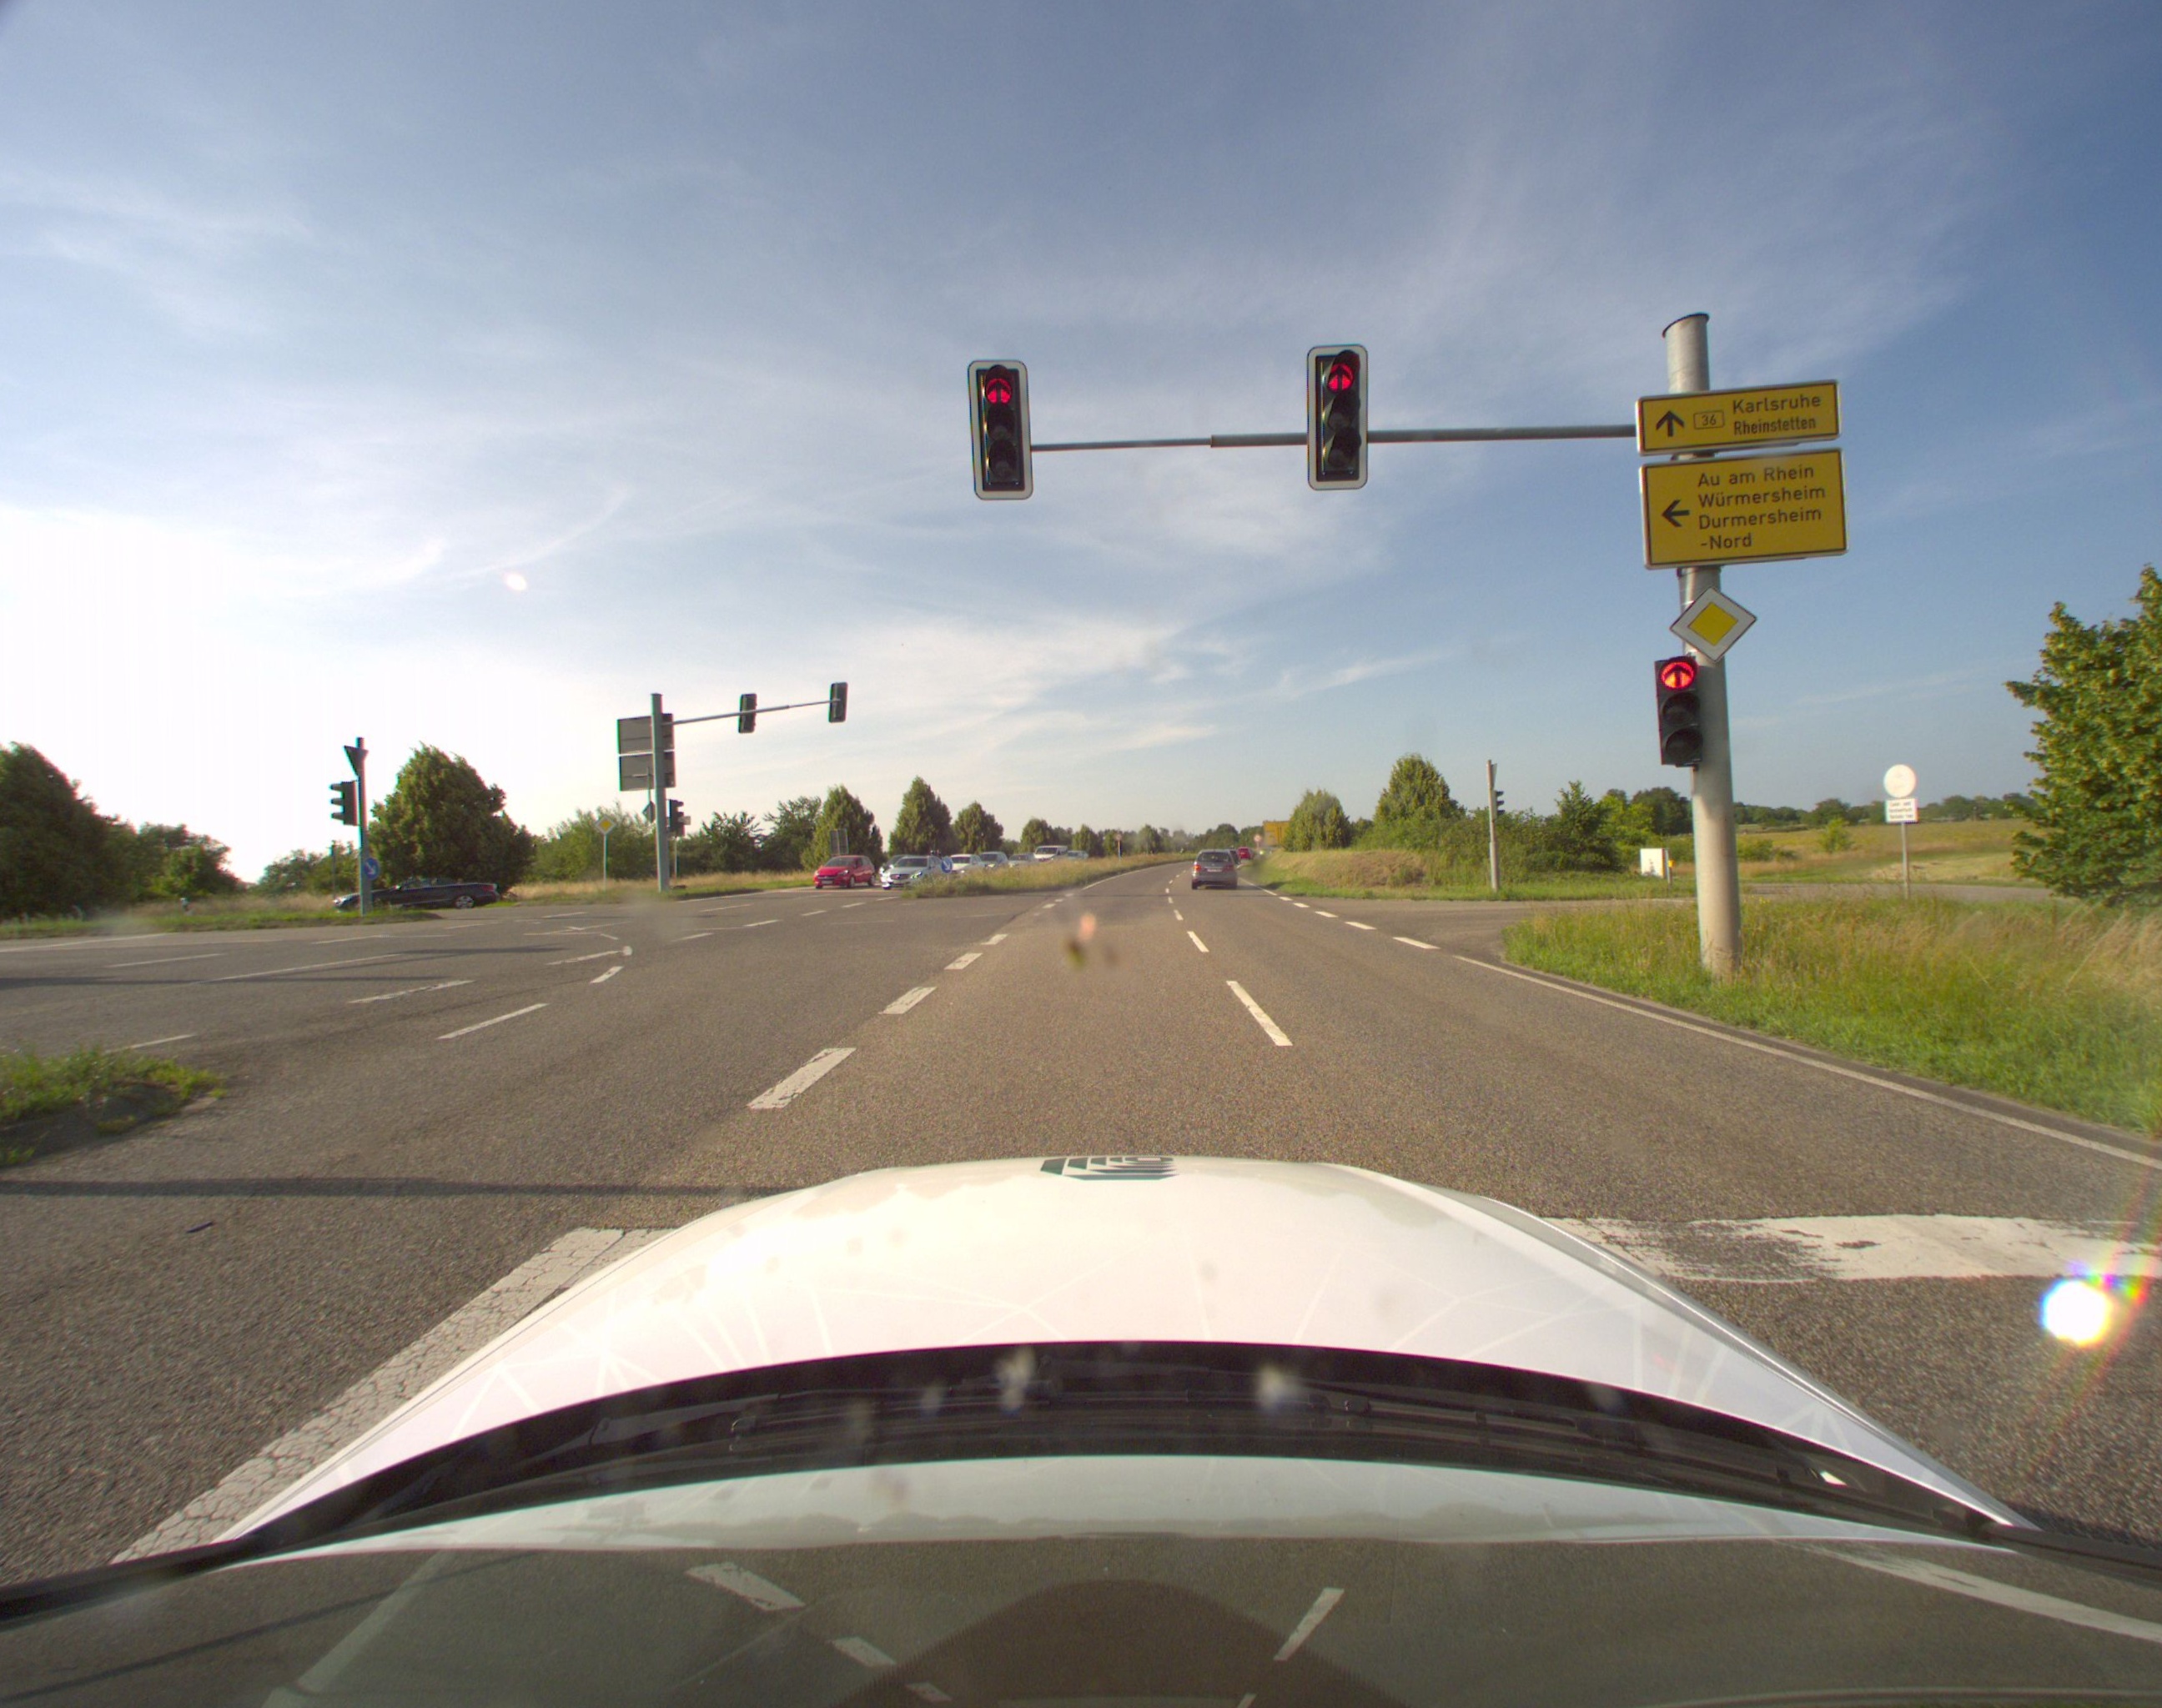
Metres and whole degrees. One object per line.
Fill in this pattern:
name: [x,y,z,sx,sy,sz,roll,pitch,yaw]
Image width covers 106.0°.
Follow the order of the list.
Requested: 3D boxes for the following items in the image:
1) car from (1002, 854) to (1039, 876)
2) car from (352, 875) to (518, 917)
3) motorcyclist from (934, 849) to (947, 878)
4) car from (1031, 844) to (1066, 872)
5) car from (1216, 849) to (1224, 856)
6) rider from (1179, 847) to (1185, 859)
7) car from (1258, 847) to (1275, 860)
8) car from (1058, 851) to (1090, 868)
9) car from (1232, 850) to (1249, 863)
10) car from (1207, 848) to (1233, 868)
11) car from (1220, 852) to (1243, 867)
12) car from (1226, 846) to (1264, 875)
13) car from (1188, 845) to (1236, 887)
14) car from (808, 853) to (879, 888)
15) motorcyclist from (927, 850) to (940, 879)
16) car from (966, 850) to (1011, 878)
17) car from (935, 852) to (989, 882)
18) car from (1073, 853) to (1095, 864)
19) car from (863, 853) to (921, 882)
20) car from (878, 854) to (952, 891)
car: [-4.123,0.724,55.871,1.777,1.385,4.058,-2,0,6]
car: [-23.877,1.512,30.278,4.687,1.282,1.706,-2,0,-39]
motorcyclist: [-9.107,0.606,52.753,0.660,1.817,0.605,-2,0,-1]
car: [-2.555,0.318,65.246,1.913,2.078,4.255,-2,0,10]
car: [29.259,-0.383,171.463,1.395,1.402,3.436,-2,0,15]
rider: [17.682,-0.168,142.664,0.861,2.013,0.775,-2,0,17]
car: [27.709,-0.004,121.604,1.892,1.800,4.299,-1,-1,21]
car: [-0.624,0.458,73.380,1.772,1.385,4.068,-2,0,16]
car: [20.432,0.389,104.188,1.881,1.565,4.295,-1,-1,15]
car: [10.991,0.317,64.166,1.760,1.492,3.999,-1,0,13]
car: [15.243,0.556,82.462,1.900,1.416,3.811,-1,-1,15]
car: [9.451,0.344,46.676,1.796,1.565,4.549,-1,0,15]
car: [5.374,0.527,33.794,1.775,1.605,4.203,-1,-1,7]
car: [-10.882,0.725,37.586,1.711,1.488,3.812,-2,0,7]
motorcyclist: [-8.970,0.639,49.609,0.660,1.747,0.605,-2,0,-1]
car: [-5.602,0.605,49.800,1.777,1.568,4.058,-2,0,6]
car: [-6.314,0.666,43.537,1.777,1.433,4.316,-2,0,6]
car: [0.421,0.566,104.288,1.772,1.385,4.068,-2,0,16]
car: [-10.317,0.712,44.752,1.777,1.433,4.058,-2,0,6]
car: [-7.210,0.756,35.830,1.777,1.488,4.659,-2,0,6]
